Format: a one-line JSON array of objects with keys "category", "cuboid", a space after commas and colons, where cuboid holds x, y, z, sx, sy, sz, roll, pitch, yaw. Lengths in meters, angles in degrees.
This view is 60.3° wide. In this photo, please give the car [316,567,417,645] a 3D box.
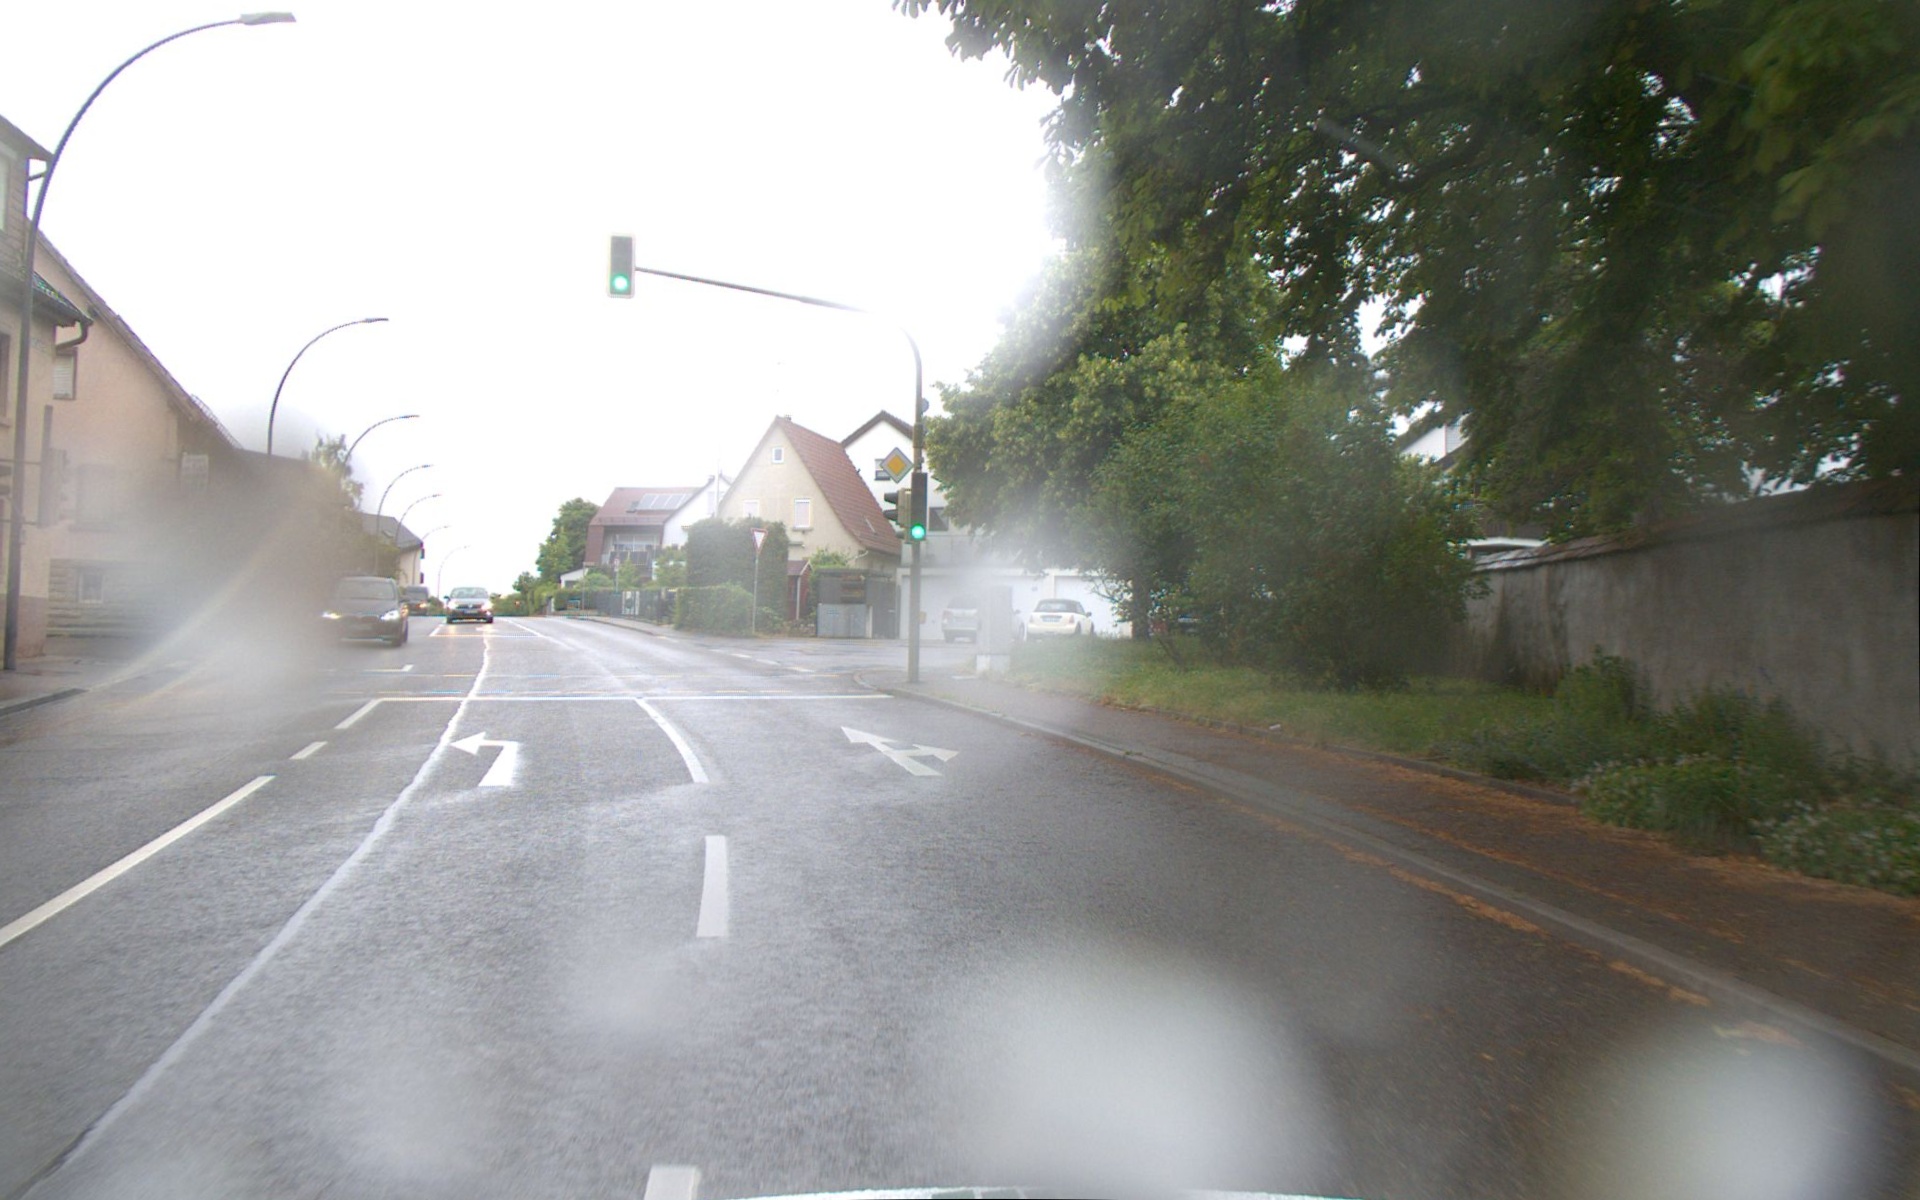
[{"category": "car", "cuboid": [-14.036, 0.123, 39.314, 1.961, 1.735, 3.983, 0, 0, -16]}]

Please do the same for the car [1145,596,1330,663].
[{"category": "car", "cuboid": [6.638, 0.689, 39.806, 4.091, 1.467, 1.832, 1, 0, -3]}]

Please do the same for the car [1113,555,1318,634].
[{"category": "car", "cuboid": [5.005, -0.102, 32.848, 3.902, 1.481, 1.856, 0, 0, 5]}]

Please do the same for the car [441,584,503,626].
[{"category": "car", "cuboid": [-19.206, 0.176, 64.989, 1.918, 1.601, 4.196, 0, 0, -23]}]

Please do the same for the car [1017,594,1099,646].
[{"category": "car", "cuboid": [3.145, 0.602, 52.502, 1.951, 1.557, 4.004, 0, 0, 13]}]

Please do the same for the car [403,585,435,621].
[{"category": "car", "cuboid": [-43.936, 0.260, 134.444, 2.059, 2.696, 5.894, 3, -2, -15]}]

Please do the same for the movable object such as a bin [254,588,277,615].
[{"category": "movable object such as a bin", "cuboid": [-27.528, 0.071, 65.561, 0.625, 1.050, 0.673, 0, 0, -4]}]

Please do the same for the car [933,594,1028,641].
[{"category": "car", "cuboid": [0.719, 0.537, 53.088, 1.951, 1.422, 4.153, 0, 1, 17]}]
